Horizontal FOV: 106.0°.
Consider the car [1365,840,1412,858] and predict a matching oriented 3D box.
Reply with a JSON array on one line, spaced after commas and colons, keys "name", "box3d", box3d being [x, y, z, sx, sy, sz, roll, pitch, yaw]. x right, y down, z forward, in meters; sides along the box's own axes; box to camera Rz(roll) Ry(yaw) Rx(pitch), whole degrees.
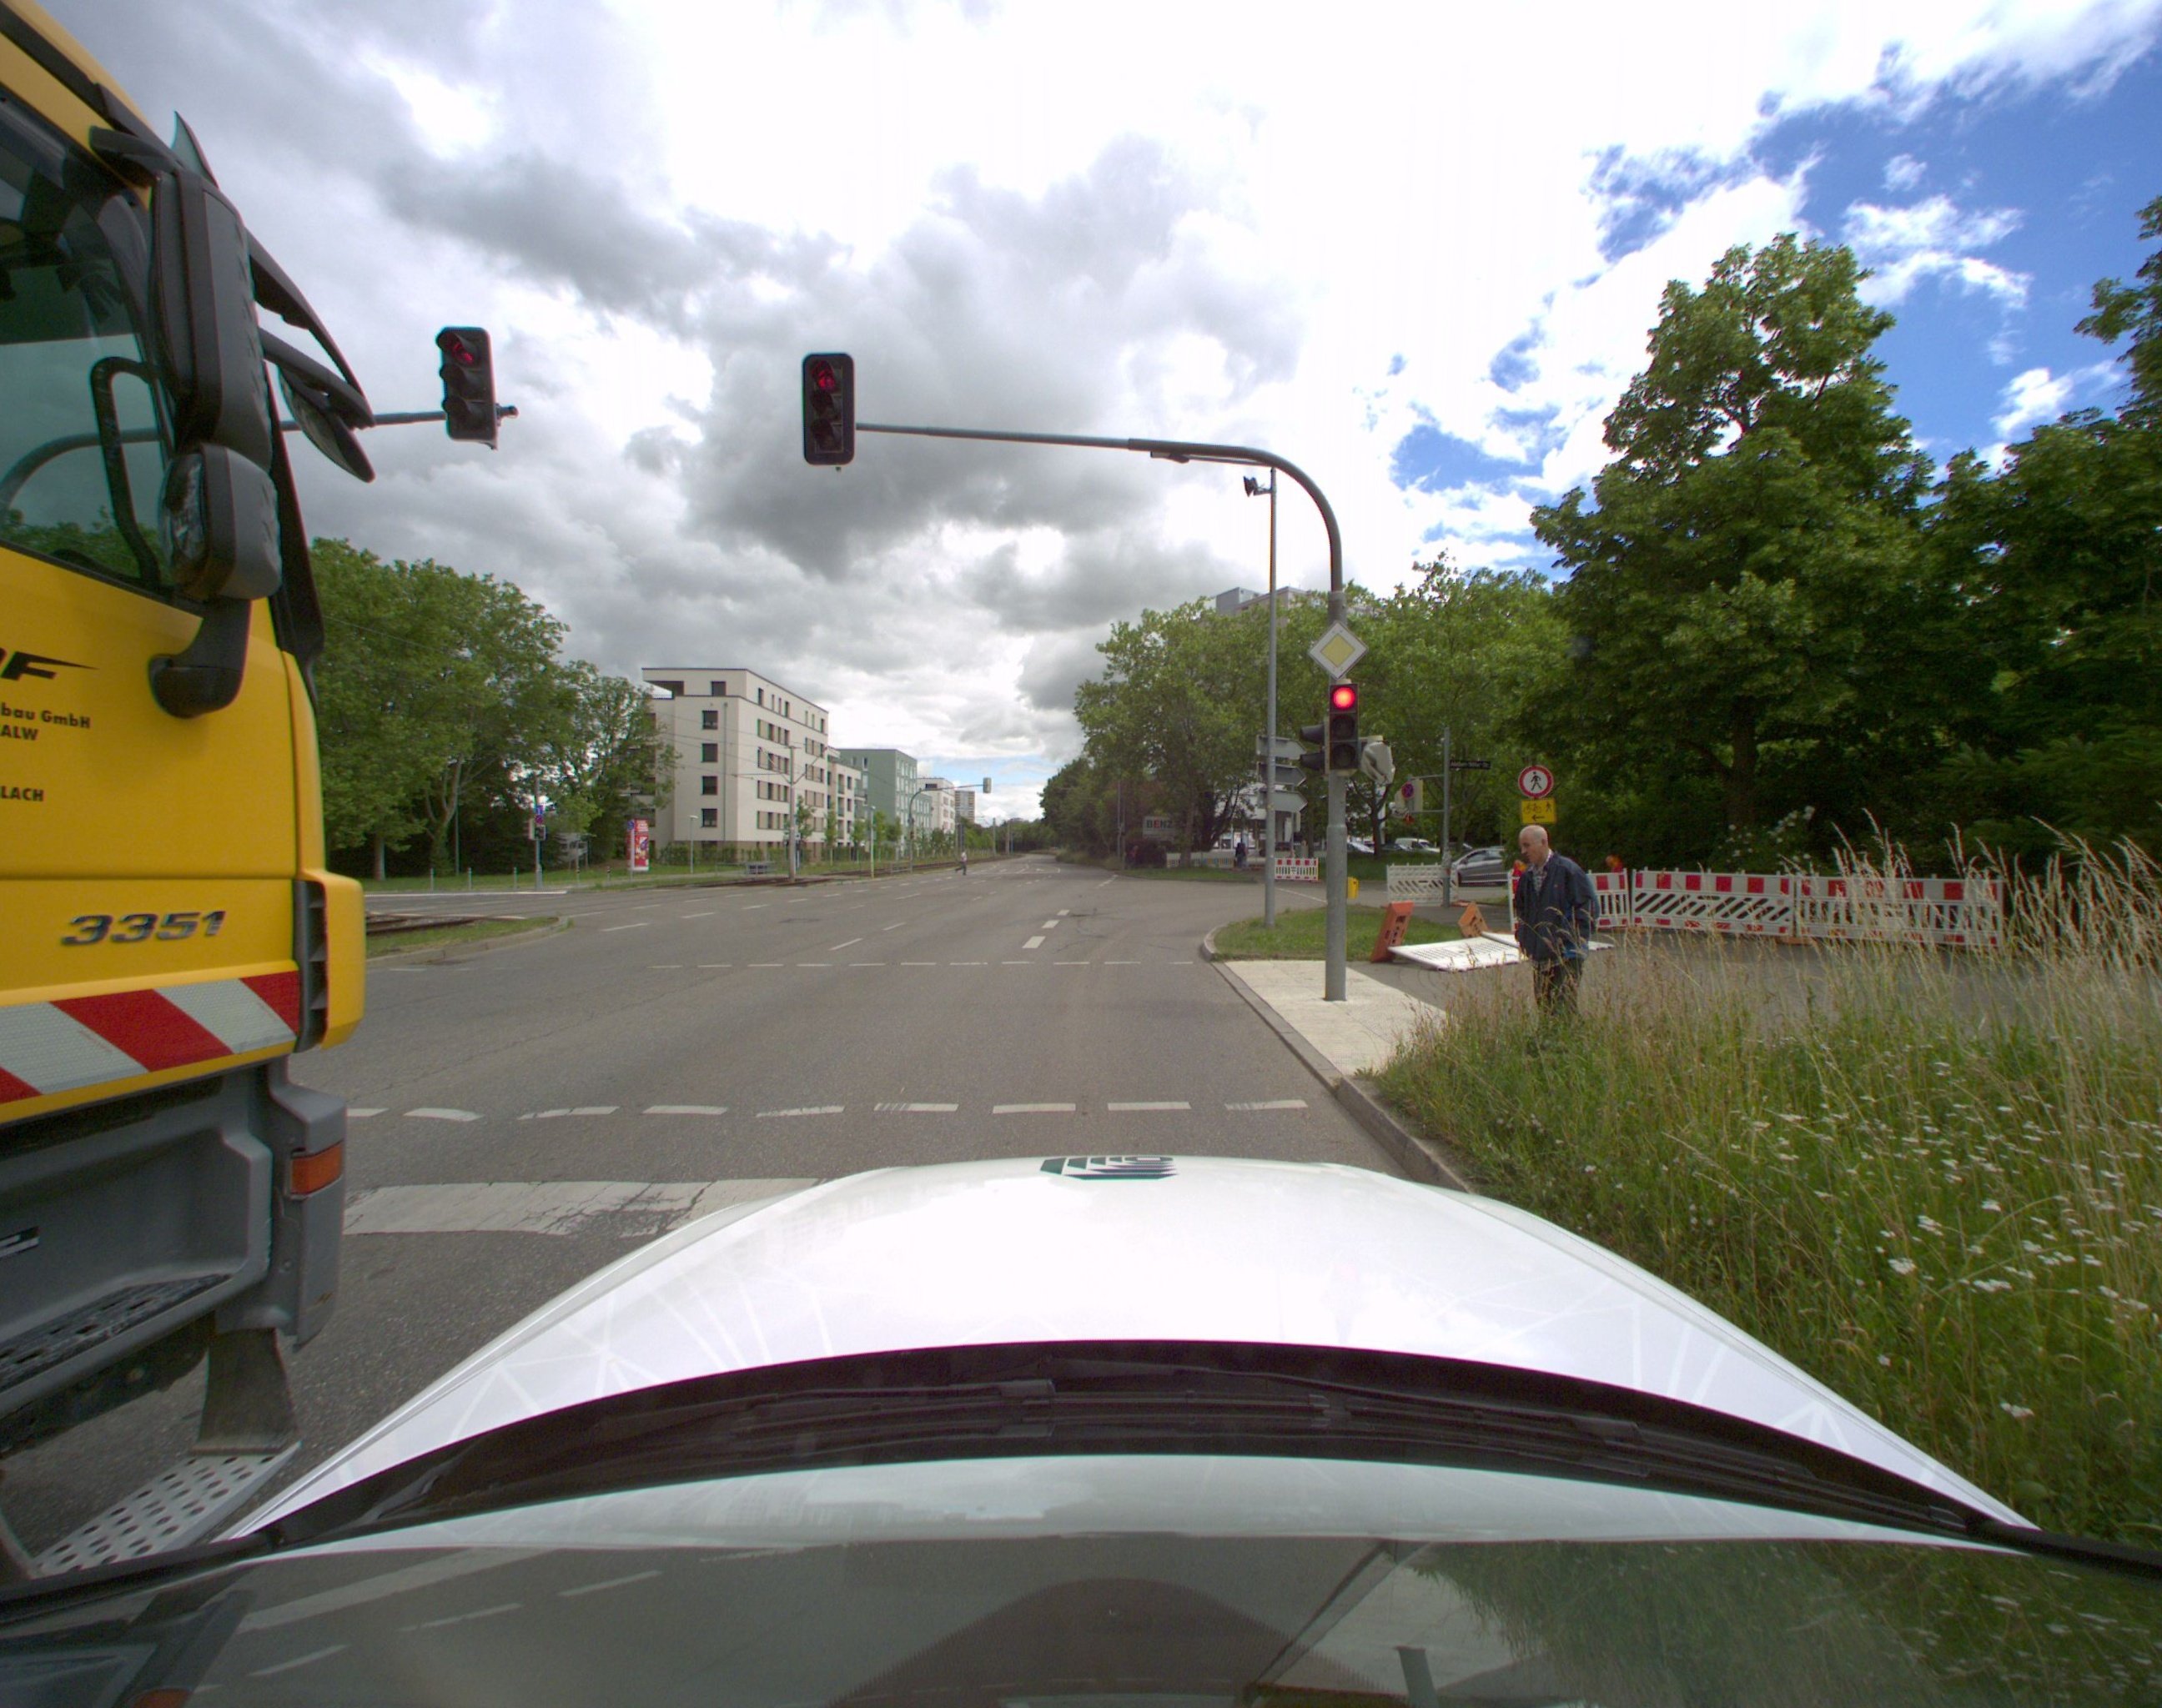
[{"name": "car", "box3d": [24.318, -0.378, 64.530, 1.488, 1.404, 3.378, 0, -1, -27]}]

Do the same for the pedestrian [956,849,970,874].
[{"name": "pedestrian", "box3d": [-7.451, 0.476, 51.417, 0.846, 1.586, 0.795, 0, -1, -4]}]

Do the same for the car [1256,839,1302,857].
[{"name": "car", "box3d": [17.519, -0.497, 72.282, 1.736, 1.500, 4.234, 0, -1, -24]}]

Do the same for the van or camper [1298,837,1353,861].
[{"name": "van or camper", "box3d": [18.477, -0.384, 61.733, 1.849, 1.684, 3.967, -1, 0, -25]}]

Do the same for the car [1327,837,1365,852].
[{"name": "car", "box3d": [25.313, -0.897, 77.812, 1.489, 1.404, 3.377, 0, -1, -29]}]

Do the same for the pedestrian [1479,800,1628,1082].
[{"name": "pedestrian", "box3d": [3.271, 0.530, 5.617, 0.719, 1.740, 0.962, -1, 0, 40]}]

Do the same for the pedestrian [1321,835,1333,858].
[{"name": "pedestrian", "box3d": [22.218, -0.678, 73.512, 0.802, 2.002, 0.852, 0, -1, -3]}]

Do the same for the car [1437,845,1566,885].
[{"name": "car", "box3d": [17.151, 0.448, 33.368, 4.379, 1.586, 1.774, 0, -1, 2]}]

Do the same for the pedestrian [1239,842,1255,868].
[{"name": "pedestrian", "box3d": [9.695, 0.076, 47.678, 0.687, 1.489, 0.696, 0, -1, -15]}]

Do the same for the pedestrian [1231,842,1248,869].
[{"name": "pedestrian", "box3d": [9.152, 0.088, 47.021, 0.720, 1.489, 0.695, 0, -1, -20]}]

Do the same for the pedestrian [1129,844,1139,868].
[{"name": "pedestrian", "box3d": [3.379, 0.136, 51.900, 0.650, 1.539, 0.773, 0, -1, 2]}]

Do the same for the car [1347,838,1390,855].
[{"name": "car", "box3d": [28.023, -0.771, 79.406, 1.677, 1.634, 3.787, 0, 1, -28]}]

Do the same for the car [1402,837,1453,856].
[{"name": "car", "box3d": [29.019, -0.601, 68.350, 1.489, 1.465, 3.856, 0, -1, -29]}]

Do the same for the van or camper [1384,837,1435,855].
[{"name": "van or camper", "box3d": [26.975, -0.646, 67.061, 1.523, 1.356, 3.738, 0, -1, -31]}]
